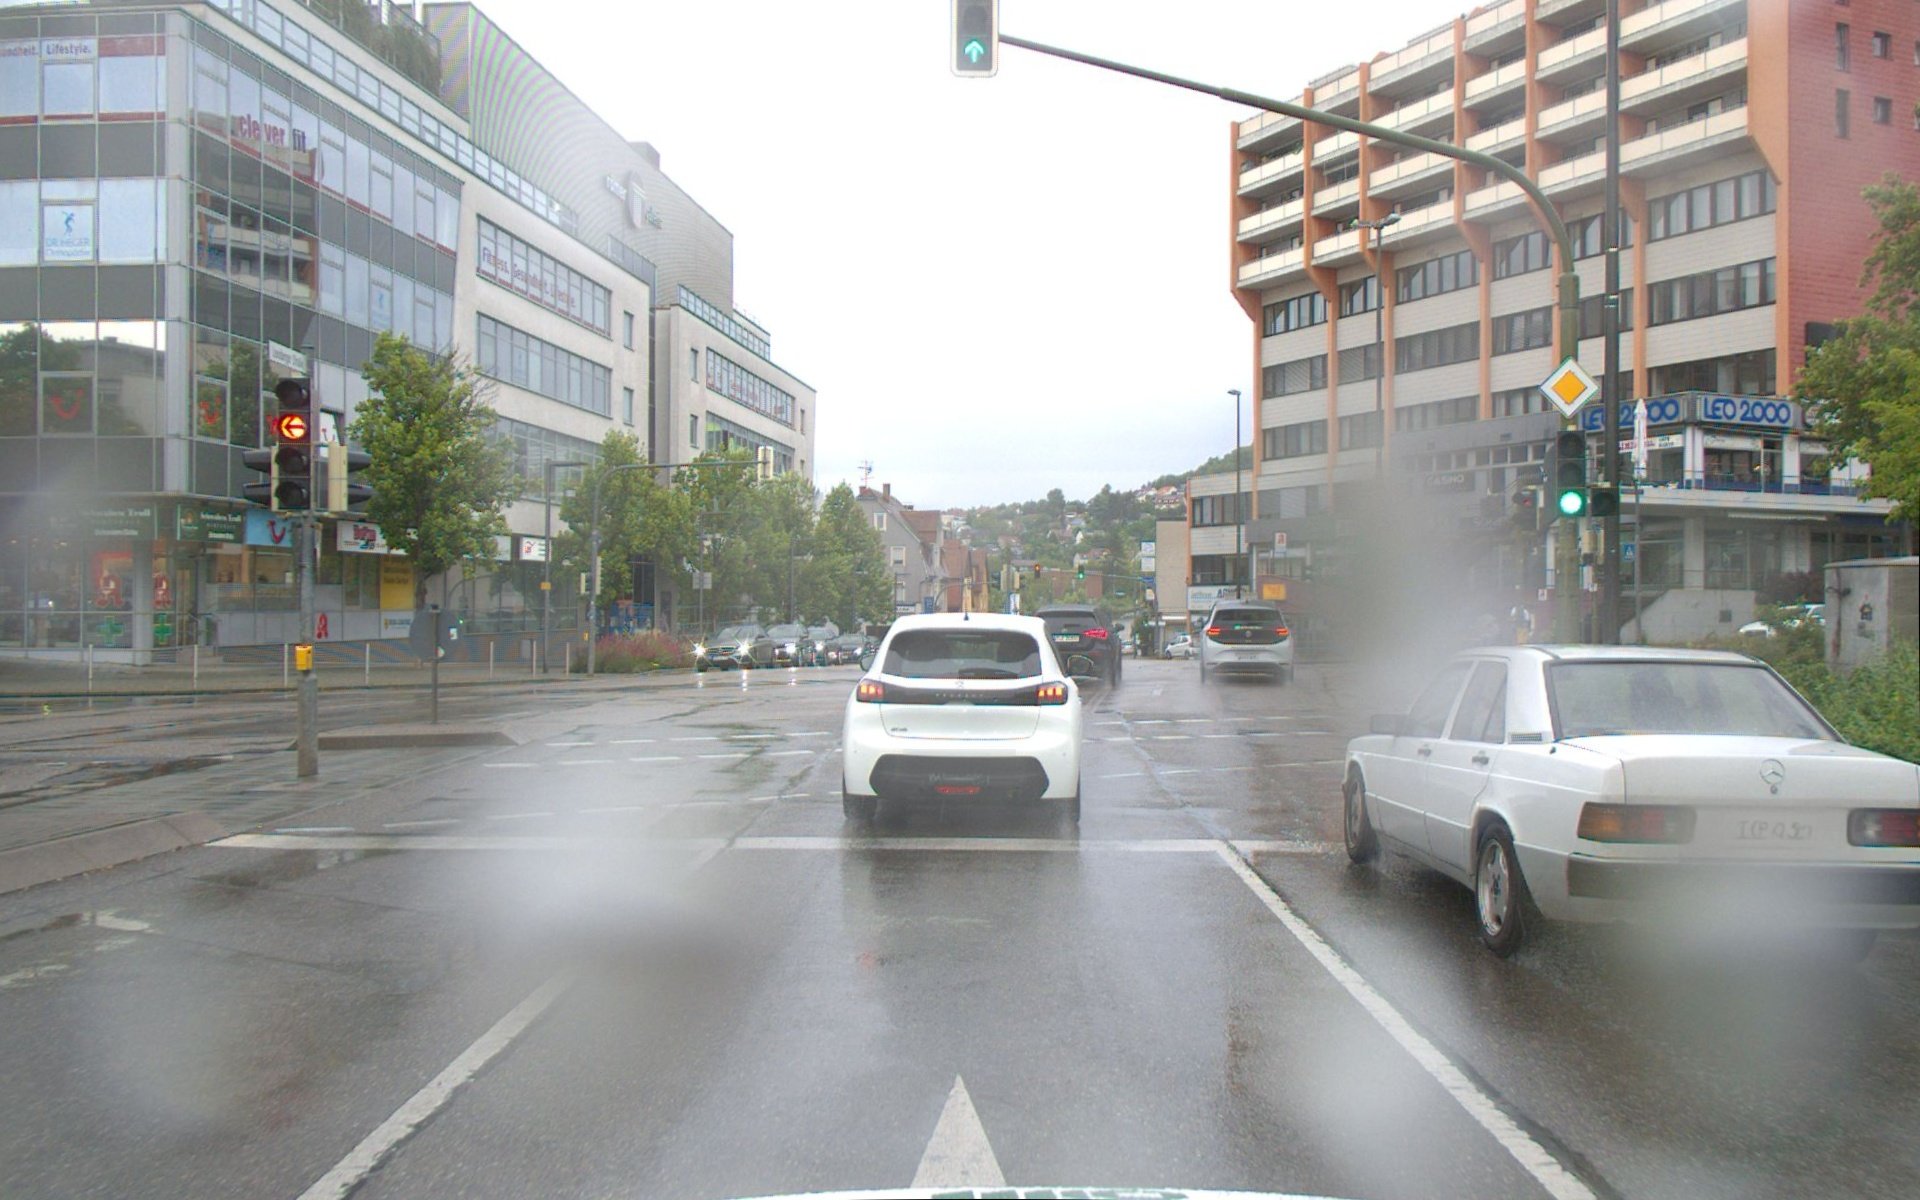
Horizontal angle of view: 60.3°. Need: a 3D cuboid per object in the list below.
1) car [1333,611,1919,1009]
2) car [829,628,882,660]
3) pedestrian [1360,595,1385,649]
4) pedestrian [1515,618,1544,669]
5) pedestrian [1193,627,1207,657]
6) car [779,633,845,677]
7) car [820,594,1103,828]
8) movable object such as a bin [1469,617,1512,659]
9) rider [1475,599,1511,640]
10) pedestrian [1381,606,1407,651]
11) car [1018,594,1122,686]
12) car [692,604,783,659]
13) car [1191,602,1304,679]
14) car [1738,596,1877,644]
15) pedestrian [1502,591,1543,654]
[{"bbox_3d":[3.196,0.839,8.409,1.600,1.474,4.268,2,-1,0],"label":"car"},{"bbox_3d":[-4.720,1.995,75.408,1.689,1.412,4.603,-1,-1,5],"label":"car"},{"bbox_3d":[12.477,0.666,50.037,0.692,1.635,0.656,0,-1,10],"label":"pedestrian"},{"bbox_3d":[18.957,1.446,55.049,0.777,1.698,0.932,0,-1,12],"label":"pedestrian"},{"bbox_3d":[15.101,2.618,103.946,0.632,1.854,0.578,0,-1,-27],"label":"pedestrian"},{"bbox_3d":[-6.108,2.246,68.755,1.736,1.622,4.591,-4,-1,7],"label":"car"},{"bbox_3d":[0.166,0.731,12.750,1.832,1.488,3.875,1,0,5],"label":"car"},{"bbox_3d":[18.036,1.306,56.287,1.106,1.356,1.455,0,-4,6],"label":"movable object such as a bin"},{"bbox_3d":[18.116,0.652,56.272,0.903,1.307,1.091,-3,0,6],"label":"rider"},{"bbox_3d":[13.318,0.876,50.758,0.692,1.369,0.656,-1,-1,9],"label":"pedestrian"},{"bbox_3d":[2.092,0.697,30.867,1.777,1.556,3.815,-1,0,5],"label":"car"},{"bbox_3d":[-7.172,0.981,53.829,1.879,1.660,4.905,1,0,5],"label":"car"},{"bbox_3d":[5.577,0.774,32.425,1.871,1.425,3.459,0,-1,4],"label":"car"},{"bbox_3d":[27.360,0.635,53.357,4.727,1.431,1.793,-1,-2,-32],"label":"car"},{"bbox_3d":[15.601,0.628,45.874,0.811,1.720,1.129,0,-1,4],"label":"pedestrian"}]
